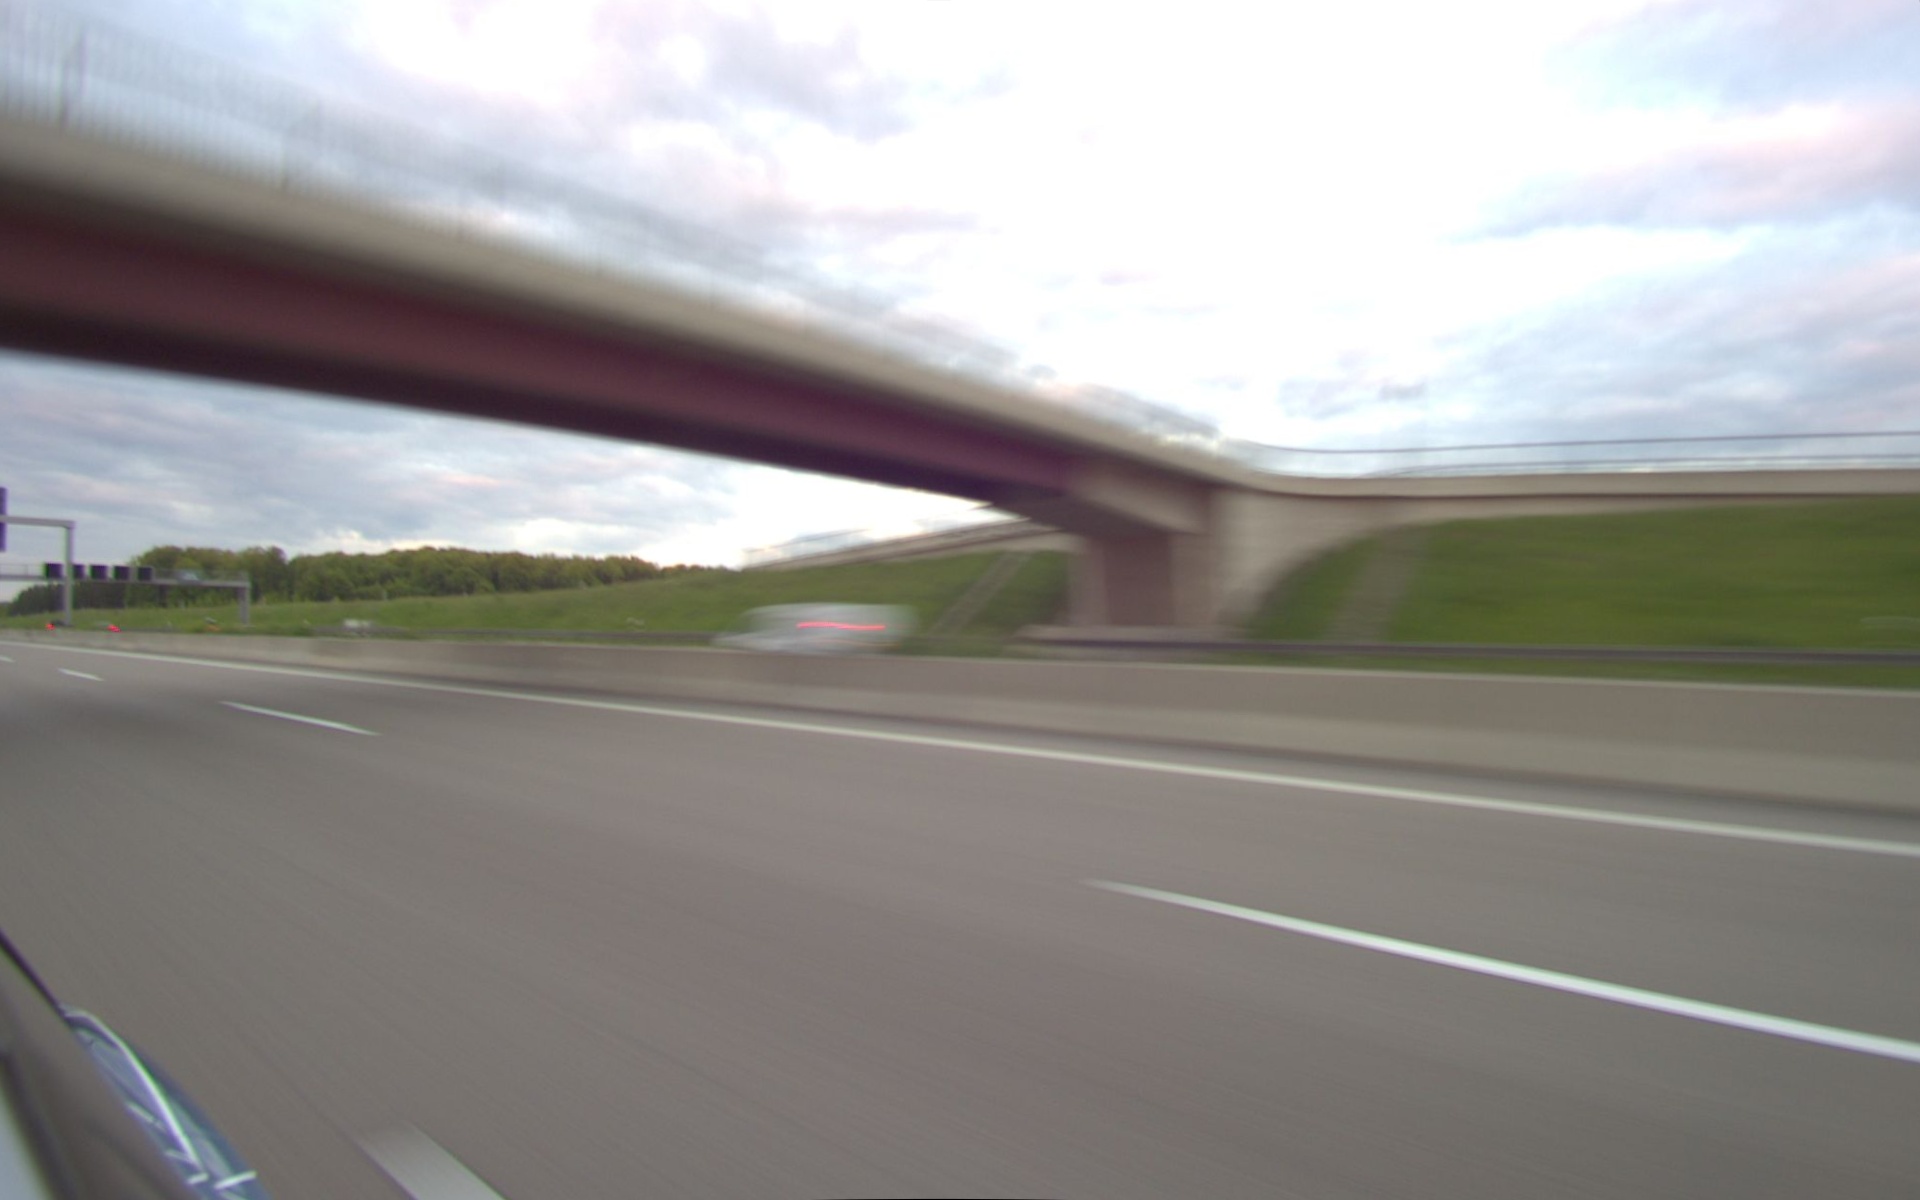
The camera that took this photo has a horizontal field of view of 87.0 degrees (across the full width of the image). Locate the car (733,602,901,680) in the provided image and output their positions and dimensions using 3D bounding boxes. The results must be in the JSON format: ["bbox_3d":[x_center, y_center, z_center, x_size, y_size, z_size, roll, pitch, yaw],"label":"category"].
[{"bbox_3d":[-4.017,1.088,27.838,4.891,1.950,1.804,-1,0,41],"label":"car"}]

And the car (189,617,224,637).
[{"bbox_3d":[-63.194,2.242,84.845,3.998,1.569,1.585,-1,0,41],"label":"car"}]
